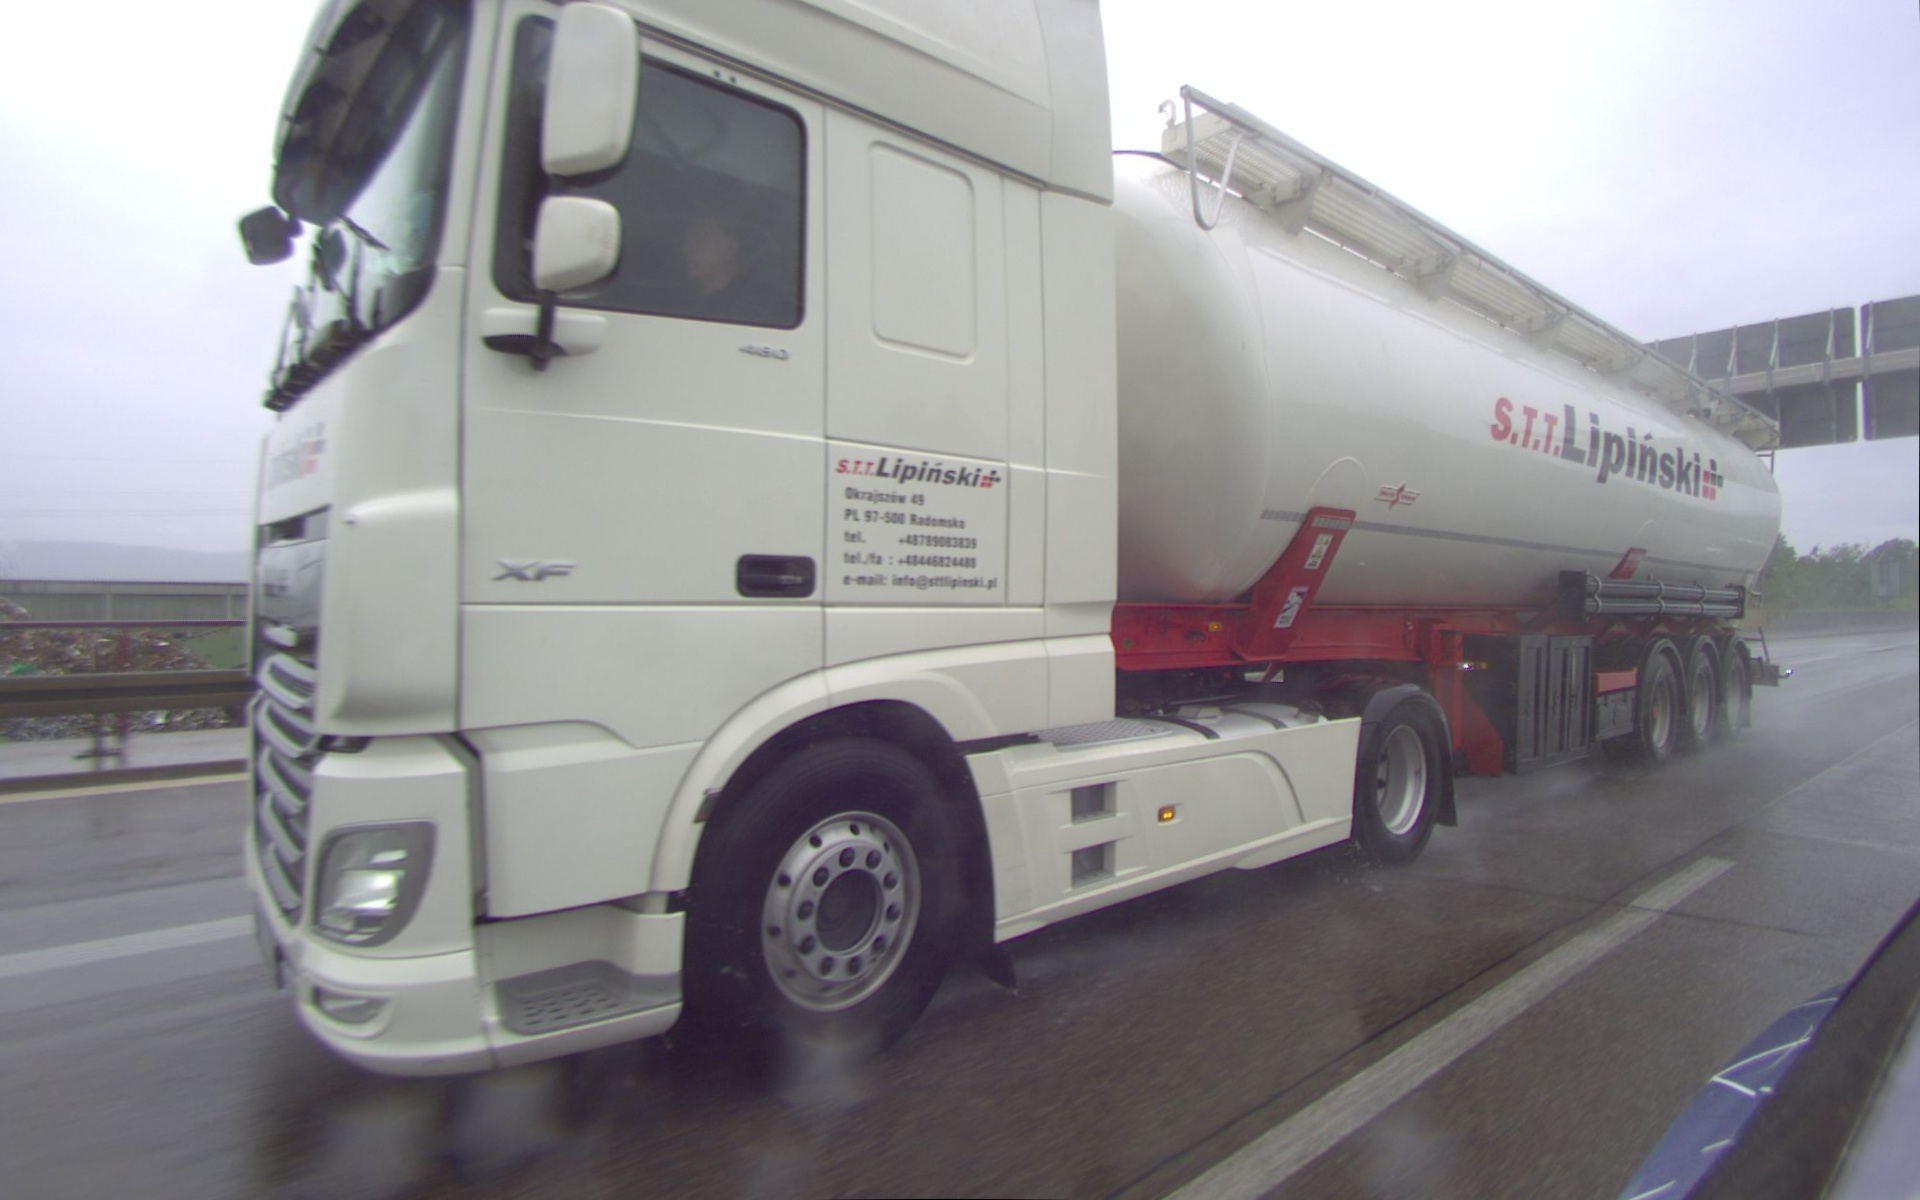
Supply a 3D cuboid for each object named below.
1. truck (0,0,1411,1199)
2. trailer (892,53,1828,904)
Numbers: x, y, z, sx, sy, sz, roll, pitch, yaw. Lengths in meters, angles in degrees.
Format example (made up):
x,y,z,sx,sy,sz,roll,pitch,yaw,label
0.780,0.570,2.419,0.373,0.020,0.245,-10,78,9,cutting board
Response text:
x,y,z,sx,sy,sz,roll,pitch,yaw,label
-1.495,-0.610,3.892,7.084,3.854,3.111,0,1,-40,truck
4.901,-0.564,9.414,11.462,3.716,3.194,0,1,-41,trailer
